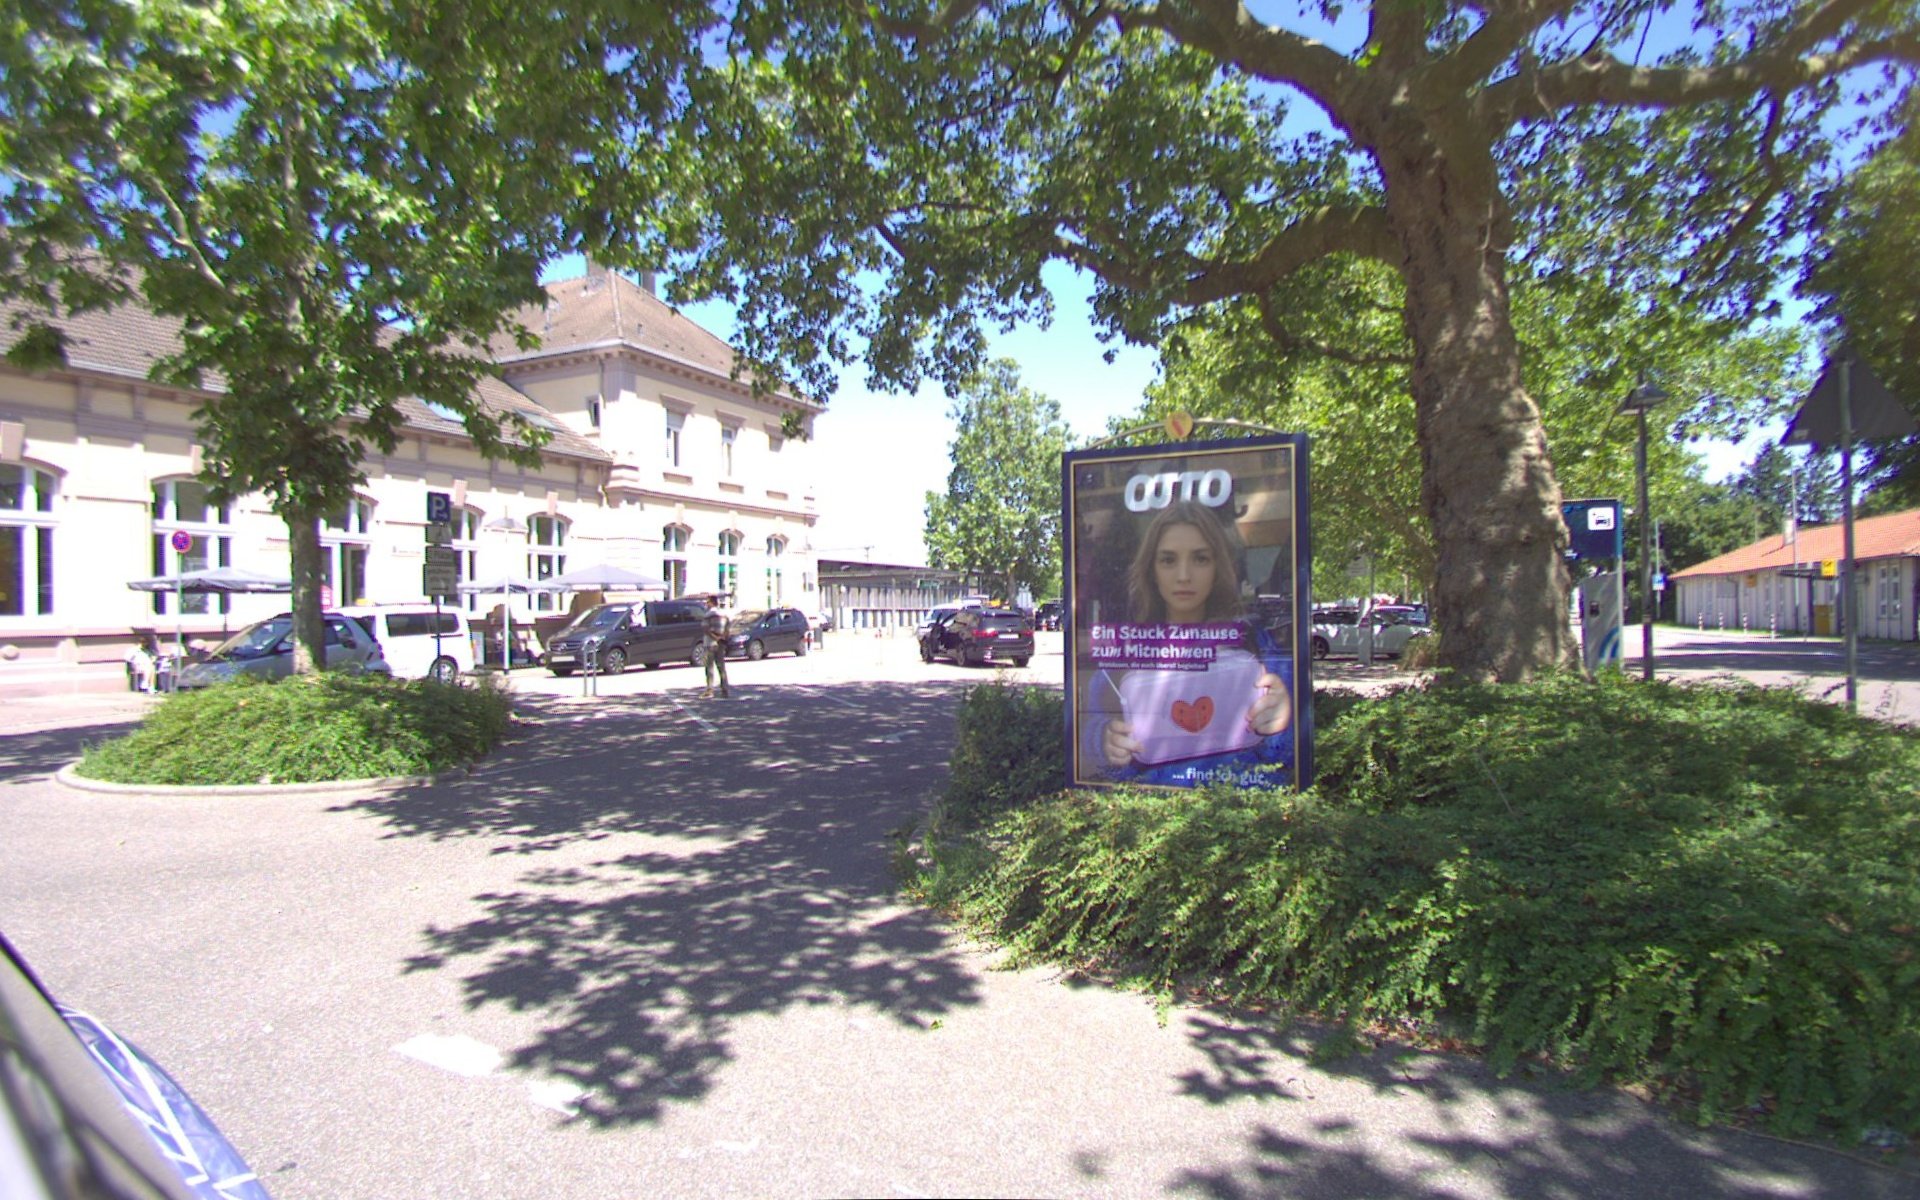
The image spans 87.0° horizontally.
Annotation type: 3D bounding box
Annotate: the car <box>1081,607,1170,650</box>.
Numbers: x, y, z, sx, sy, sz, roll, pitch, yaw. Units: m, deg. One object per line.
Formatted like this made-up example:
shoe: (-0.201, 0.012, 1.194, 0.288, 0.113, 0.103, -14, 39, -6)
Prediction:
car: (6.772, 1.127, 41.808, 1.770, 1.617, 4.077, -2, 1, -21)

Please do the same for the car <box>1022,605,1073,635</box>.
car: (5.763, 1.287, 66.222, 1.989, 1.803, 4.212, -4, -1, 25)

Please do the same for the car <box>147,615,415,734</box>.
car: (-10.347, 1.057, 15.625, 1.592, 1.605, 3.080, -1, -1, 24)

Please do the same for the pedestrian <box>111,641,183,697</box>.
pedestrian: (-17.059, 1.434, 21.237, 0.875, 1.088, 0.846, 0, -1, 20)

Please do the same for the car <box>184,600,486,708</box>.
car: (-12.212, 1.019, 20.264, 1.802, 1.880, 5.101, -2, -2, 21)

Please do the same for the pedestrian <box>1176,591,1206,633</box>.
pedestrian: (8.161, 0.426, 35.757, 0.788, 1.435, 0.692, 0, -1, -37)

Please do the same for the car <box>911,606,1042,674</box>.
car: (0.328, 0.969, 26.673, 1.769, 1.554, 4.545, -2, 1, -22)

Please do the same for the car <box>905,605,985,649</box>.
car: (-0.590, 1.203, 46.607, 1.988, 1.854, 5.285, -3, -2, 19)

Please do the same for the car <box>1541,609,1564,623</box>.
car: (72.874, 1.965, 124.471, 1.917, 1.677, 3.969, -1, -1, 23)

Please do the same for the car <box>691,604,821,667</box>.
car: (-6.616, 1.155, 33.383, 2.064, 1.854, 4.810, -2, -2, 19)

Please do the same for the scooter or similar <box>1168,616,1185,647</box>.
scooter or similar: (7.734, 1.127, 36.153, 0.430, 1.110, 0.404, 0, -1, -37)

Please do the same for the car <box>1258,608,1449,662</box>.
car: (11.115, 0.988, 28.853, 4.719, 1.427, 1.783, -1, -1, 6)

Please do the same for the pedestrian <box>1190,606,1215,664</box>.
pedestrian: (6.626, 0.939, 27.628, 0.585, 1.560, 0.606, 0, -1, 20)

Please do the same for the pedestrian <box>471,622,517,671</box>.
pedestrian: (-13.636, 1.344, 29.651, 0.875, 1.381, 0.846, 0, -1, 20)

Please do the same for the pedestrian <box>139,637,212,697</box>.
pedestrian: (-16.190, 1.373, 20.893, 0.875, 1.170, 0.846, 0, -1, 20)

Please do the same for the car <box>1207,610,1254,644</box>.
car: (15.896, 1.561, 59.655, 1.715, 1.908, 3.999, -1, -1, 1)

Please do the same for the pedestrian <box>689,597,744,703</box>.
pedestrian: (-4.144, 0.830, 17.203, 0.760, 1.730, 0.817, 0, -1, -22)

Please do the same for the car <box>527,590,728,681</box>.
car: (-8.700, 0.931, 27.210, 2.077, 2.140, 5.789, -2, -2, 19)

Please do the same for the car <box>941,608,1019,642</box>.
car: (1.409, 1.746, 70.029, 4.933, 2.136, 2.036, -3, -2, 23)

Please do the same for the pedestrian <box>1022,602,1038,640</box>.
pedestrian: (3.703, 1.112, 53.440, 0.624, 2.005, 0.613, -3, -2, 19)
